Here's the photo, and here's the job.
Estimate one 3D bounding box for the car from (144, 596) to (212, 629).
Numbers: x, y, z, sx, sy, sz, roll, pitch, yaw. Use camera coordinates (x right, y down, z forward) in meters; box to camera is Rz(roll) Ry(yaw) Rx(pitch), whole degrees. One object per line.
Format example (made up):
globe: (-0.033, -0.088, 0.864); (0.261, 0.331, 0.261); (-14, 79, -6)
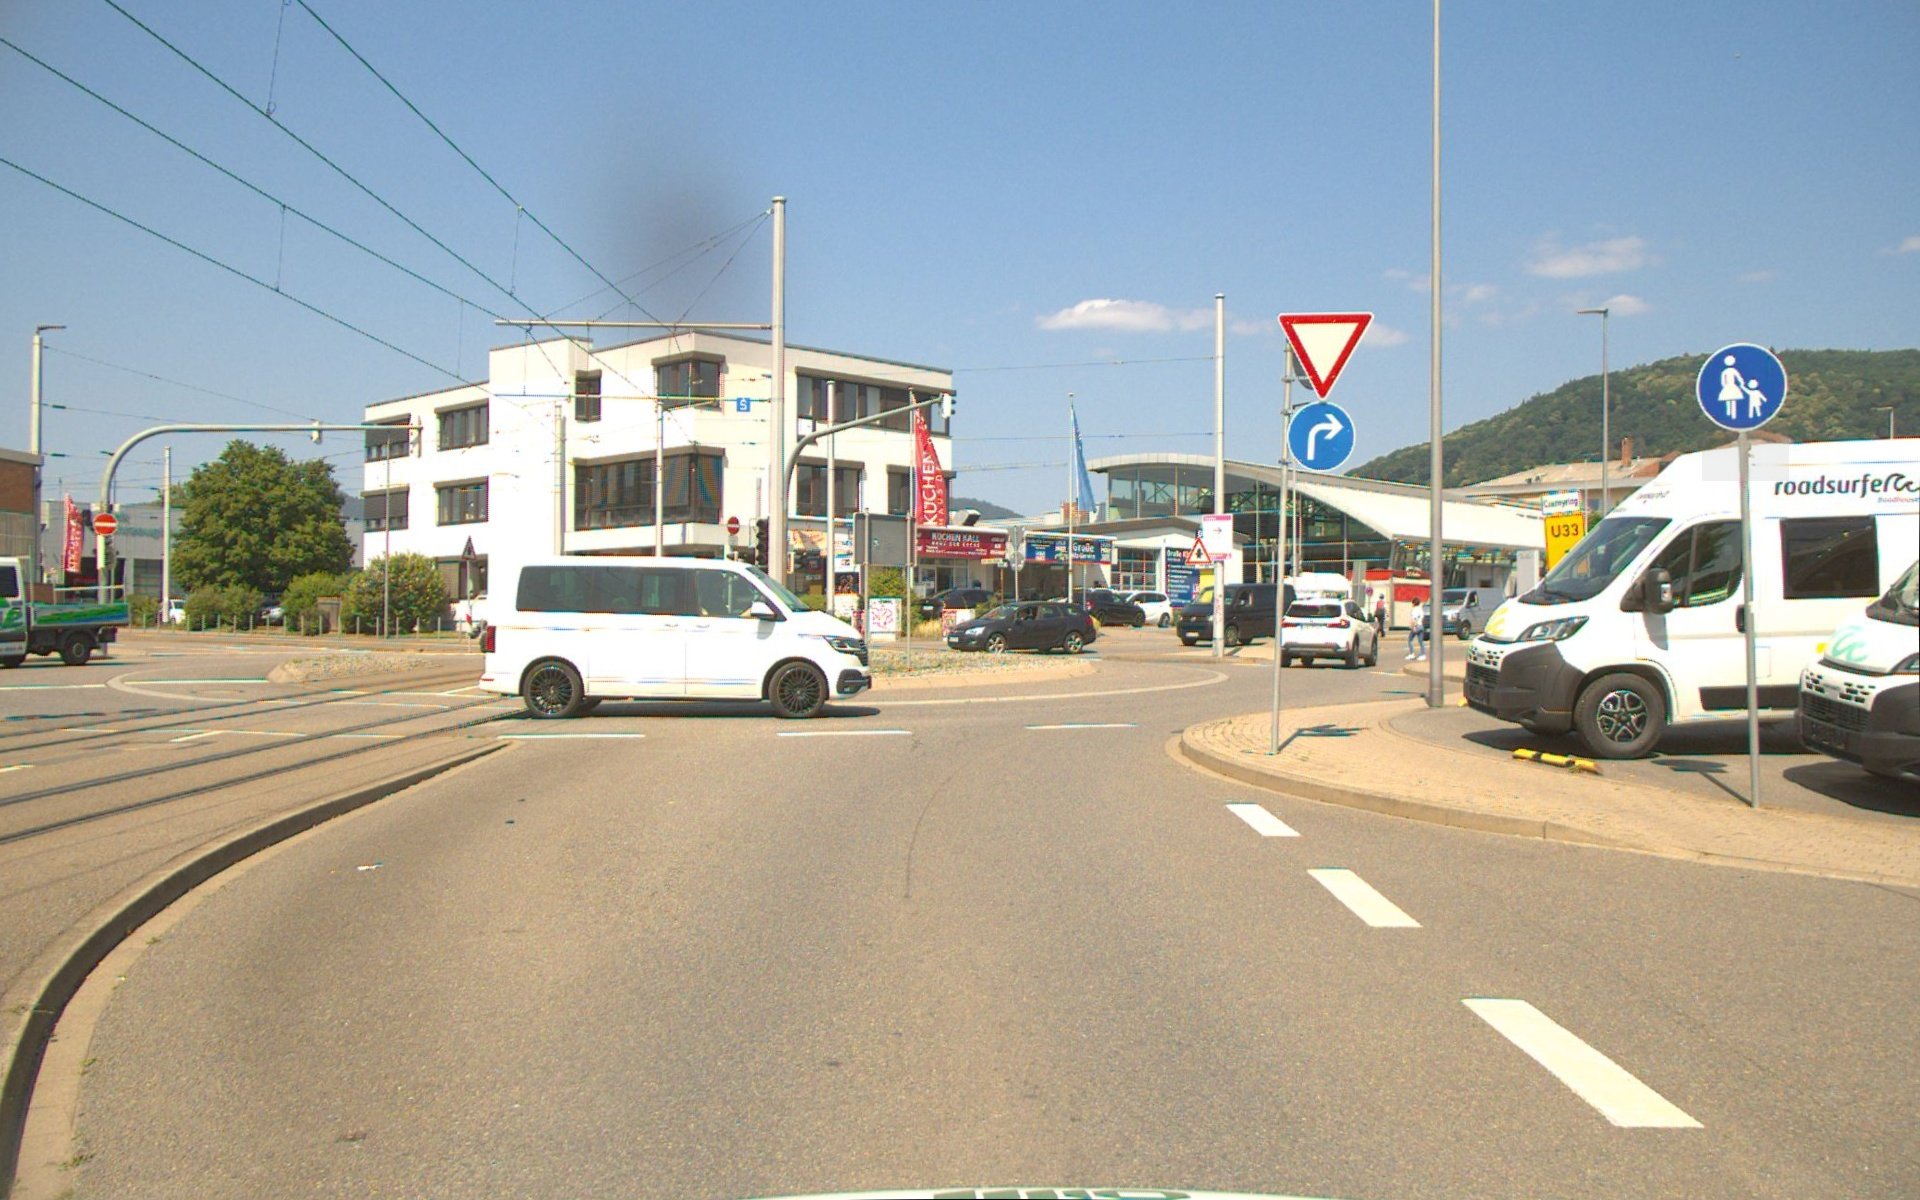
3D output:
car: (-42.884, 0.707, 90.659); (3.927, 1.691, 1.989); (-2, -1, 41)

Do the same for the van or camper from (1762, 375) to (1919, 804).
van or camper: (9.010, -0.070, 11.932); (5.391, 2.863, 2.049); (1, 2, 3)

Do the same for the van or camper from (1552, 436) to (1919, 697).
van or camper: (11.359, -0.442, 20.809); (6.918, 2.998, 2.334); (-2, -1, -1)

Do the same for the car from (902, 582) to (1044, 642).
car: (0.511, 0.406, 58.306); (5.241, 2.000, 1.934); (0, 0, -45)

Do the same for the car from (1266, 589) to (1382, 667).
car: (8.846, 0.635, 39.904); (1.953, 1.763, 4.563); (0, 0, 23)

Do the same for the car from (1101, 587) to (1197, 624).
car: (8.612, 0.264, 75.062); (1.852, 1.616, 4.899); (-3, -2, 41)

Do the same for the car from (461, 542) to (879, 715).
car: (-3.528, 0.343, 20.954); (4.899, 2.049, 2.169); (0, 0, -1)

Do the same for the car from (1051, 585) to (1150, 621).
car: (5.891, 0.134, 68.917); (1.996, 1.452, 4.292); (0, 0, 41)

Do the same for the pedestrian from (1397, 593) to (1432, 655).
pedestrian: (12.398, 0.657, 45.130); (0.861, 1.665, 0.954); (0, 0, 11)

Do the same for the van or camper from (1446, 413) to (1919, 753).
van or camper: (7.523, -0.167, 14.891); (5.690, 2.822, 2.091); (0, 1, 1)

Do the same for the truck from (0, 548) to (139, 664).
truck: (-20.569, 0.126, 34.768); (2.156, 2.378, 6.393); (0, 0, 16)

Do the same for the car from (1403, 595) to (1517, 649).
car: (19.162, 0.817, 63.294); (4.785, 1.969, 1.905); (0, 0, -41)

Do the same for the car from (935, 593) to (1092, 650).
car: (1.563, 0.597, 47.897); (4.183, 1.583, 1.950); (0, 0, -30)

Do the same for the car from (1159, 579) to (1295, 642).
car: (8.657, 0.295, 53.380); (4.604, 1.943, 2.064); (-1, 1, -45)
